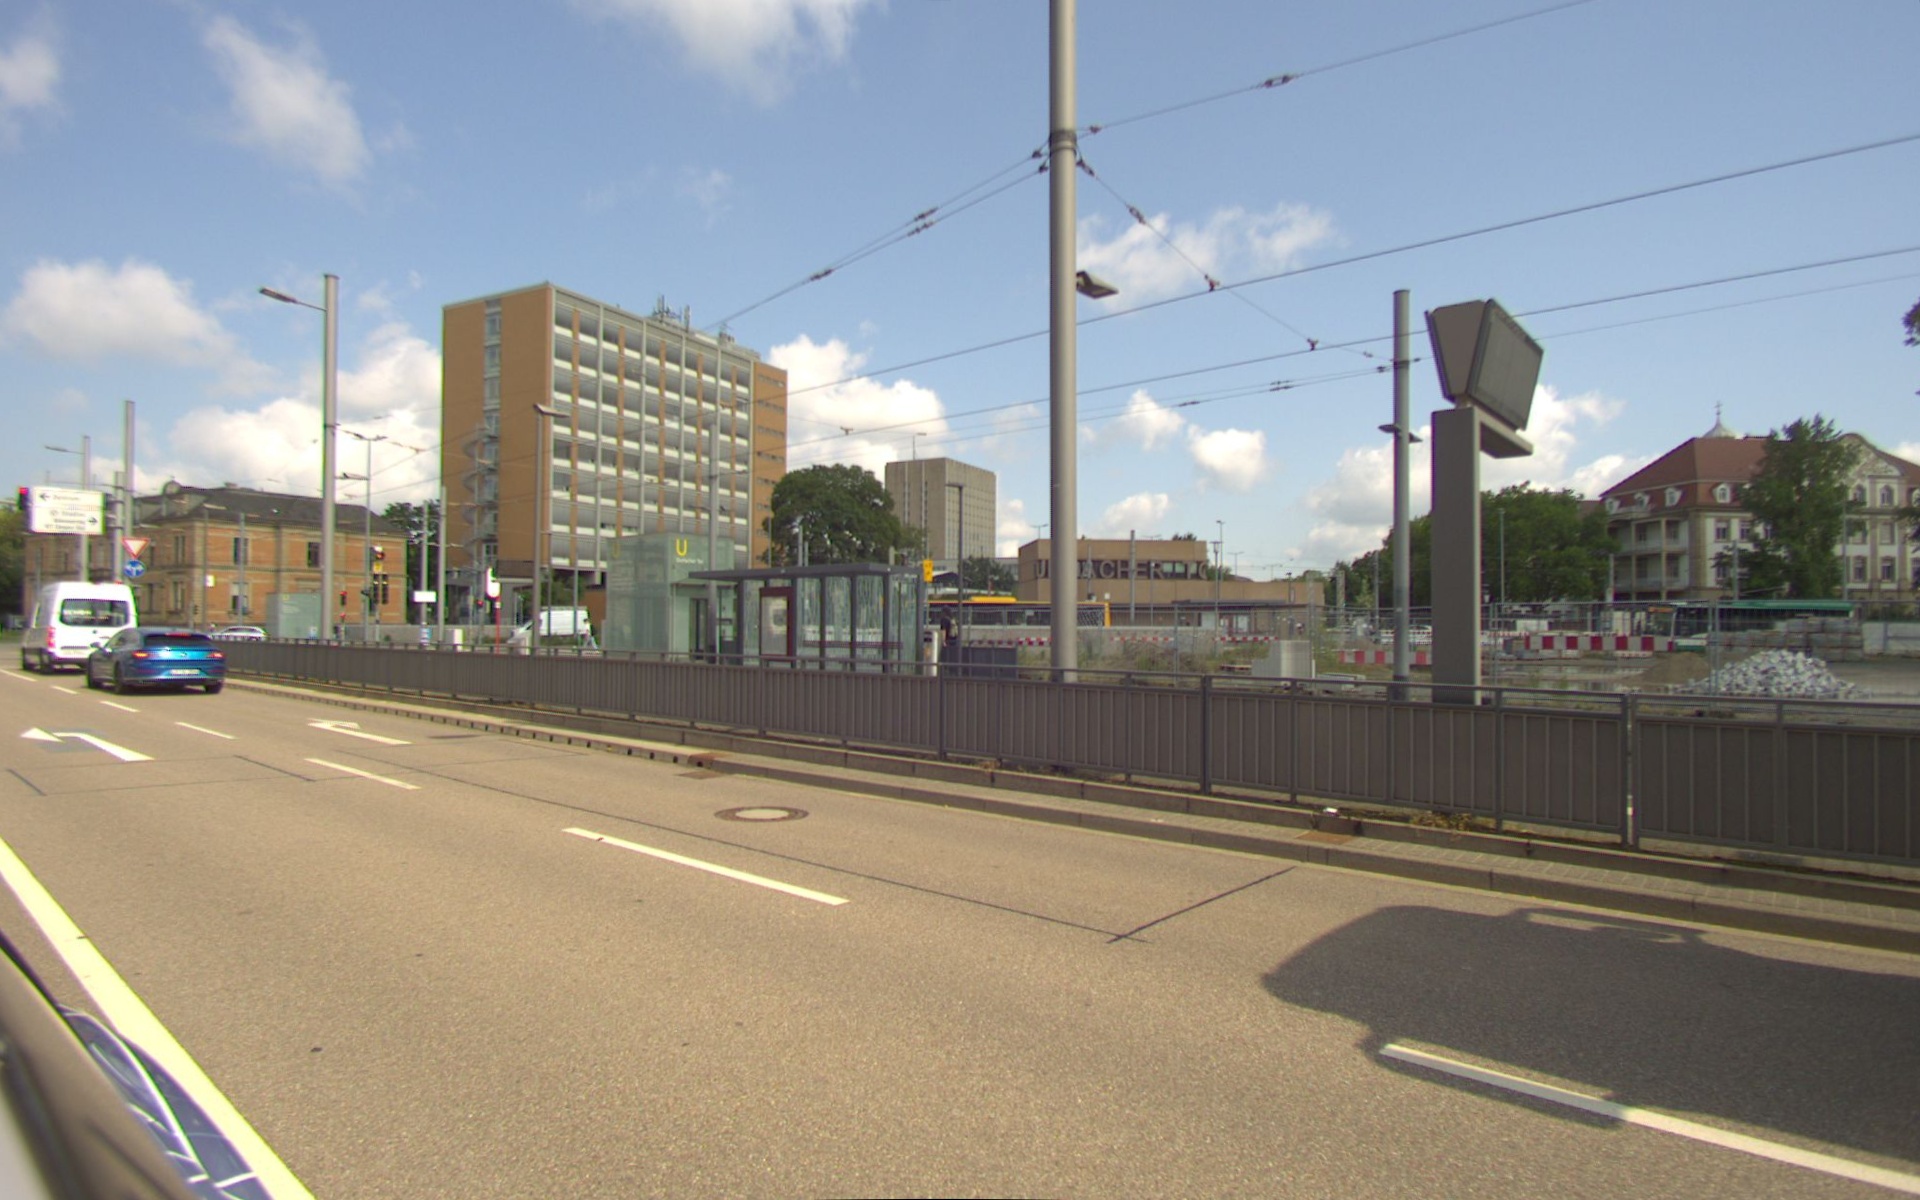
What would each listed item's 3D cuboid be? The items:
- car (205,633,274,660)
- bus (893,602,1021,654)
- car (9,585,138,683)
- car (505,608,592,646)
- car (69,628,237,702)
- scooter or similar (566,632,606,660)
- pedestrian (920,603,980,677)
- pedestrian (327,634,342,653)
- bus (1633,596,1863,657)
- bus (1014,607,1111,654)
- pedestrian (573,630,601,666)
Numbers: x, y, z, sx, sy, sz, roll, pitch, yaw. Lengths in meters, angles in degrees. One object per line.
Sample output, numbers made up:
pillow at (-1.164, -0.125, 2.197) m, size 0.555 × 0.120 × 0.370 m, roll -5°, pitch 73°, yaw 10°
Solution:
car at (-53.876, 3.453, 75.756) m, size 4.070 × 1.785 × 2.006 m, roll 0°, pitch 2°, yaw -31°
bus at (-0.234, 1.585, 56.819) m, size 6.991 × 2.855 × 2.703 m, roll 0°, pitch -2°, yaw -5°
car at (-26.084, 1.016, 29.712) m, size 5.576 × 2.642 × 1.973 m, roll -1°, pitch -4°, yaw 41°
car at (-33.101, 2.180, 81.547) m, size 6.047 × 2.901 × 2.492 m, roll 1°, pitch -2°, yaw -36°
car at (-17.888, 1.407, 22.375) m, size 4.548 × 1.466 × 1.832 m, roll -2°, pitch -4°, yaw 38°
scooter or similar at (-18.347, 2.227, 49.612) m, size 1.495 × 1.198 × 1.320 m, roll 4°, pitch 3°, yaw 43°
pedestrian at (-0.258, 1.003, 25.529) m, size 0.985 × 1.813 × 1.047 m, roll 0°, pitch -3°, yaw -43°
pedestrian at (-53.154, 3.692, 86.011) m, size 0.753 × 1.600 × 0.774 m, roll 0°, pitch -2°, yaw -7°
bus at (47.597, 1.632, 61.263) m, size 12.066 × 3.534 × 2.968 m, roll 0°, pitch -2°, yaw -5°
bus at (5.752, 1.739, 57.352) m, size 4.999 × 2.607 × 2.705 m, roll 0°, pitch -2°, yaw -6°
pedestrian at (-18.293, 2.347, 49.674) m, size 1.080 × 1.702 × 0.931 m, roll -1°, pitch -1°, yaw -8°
